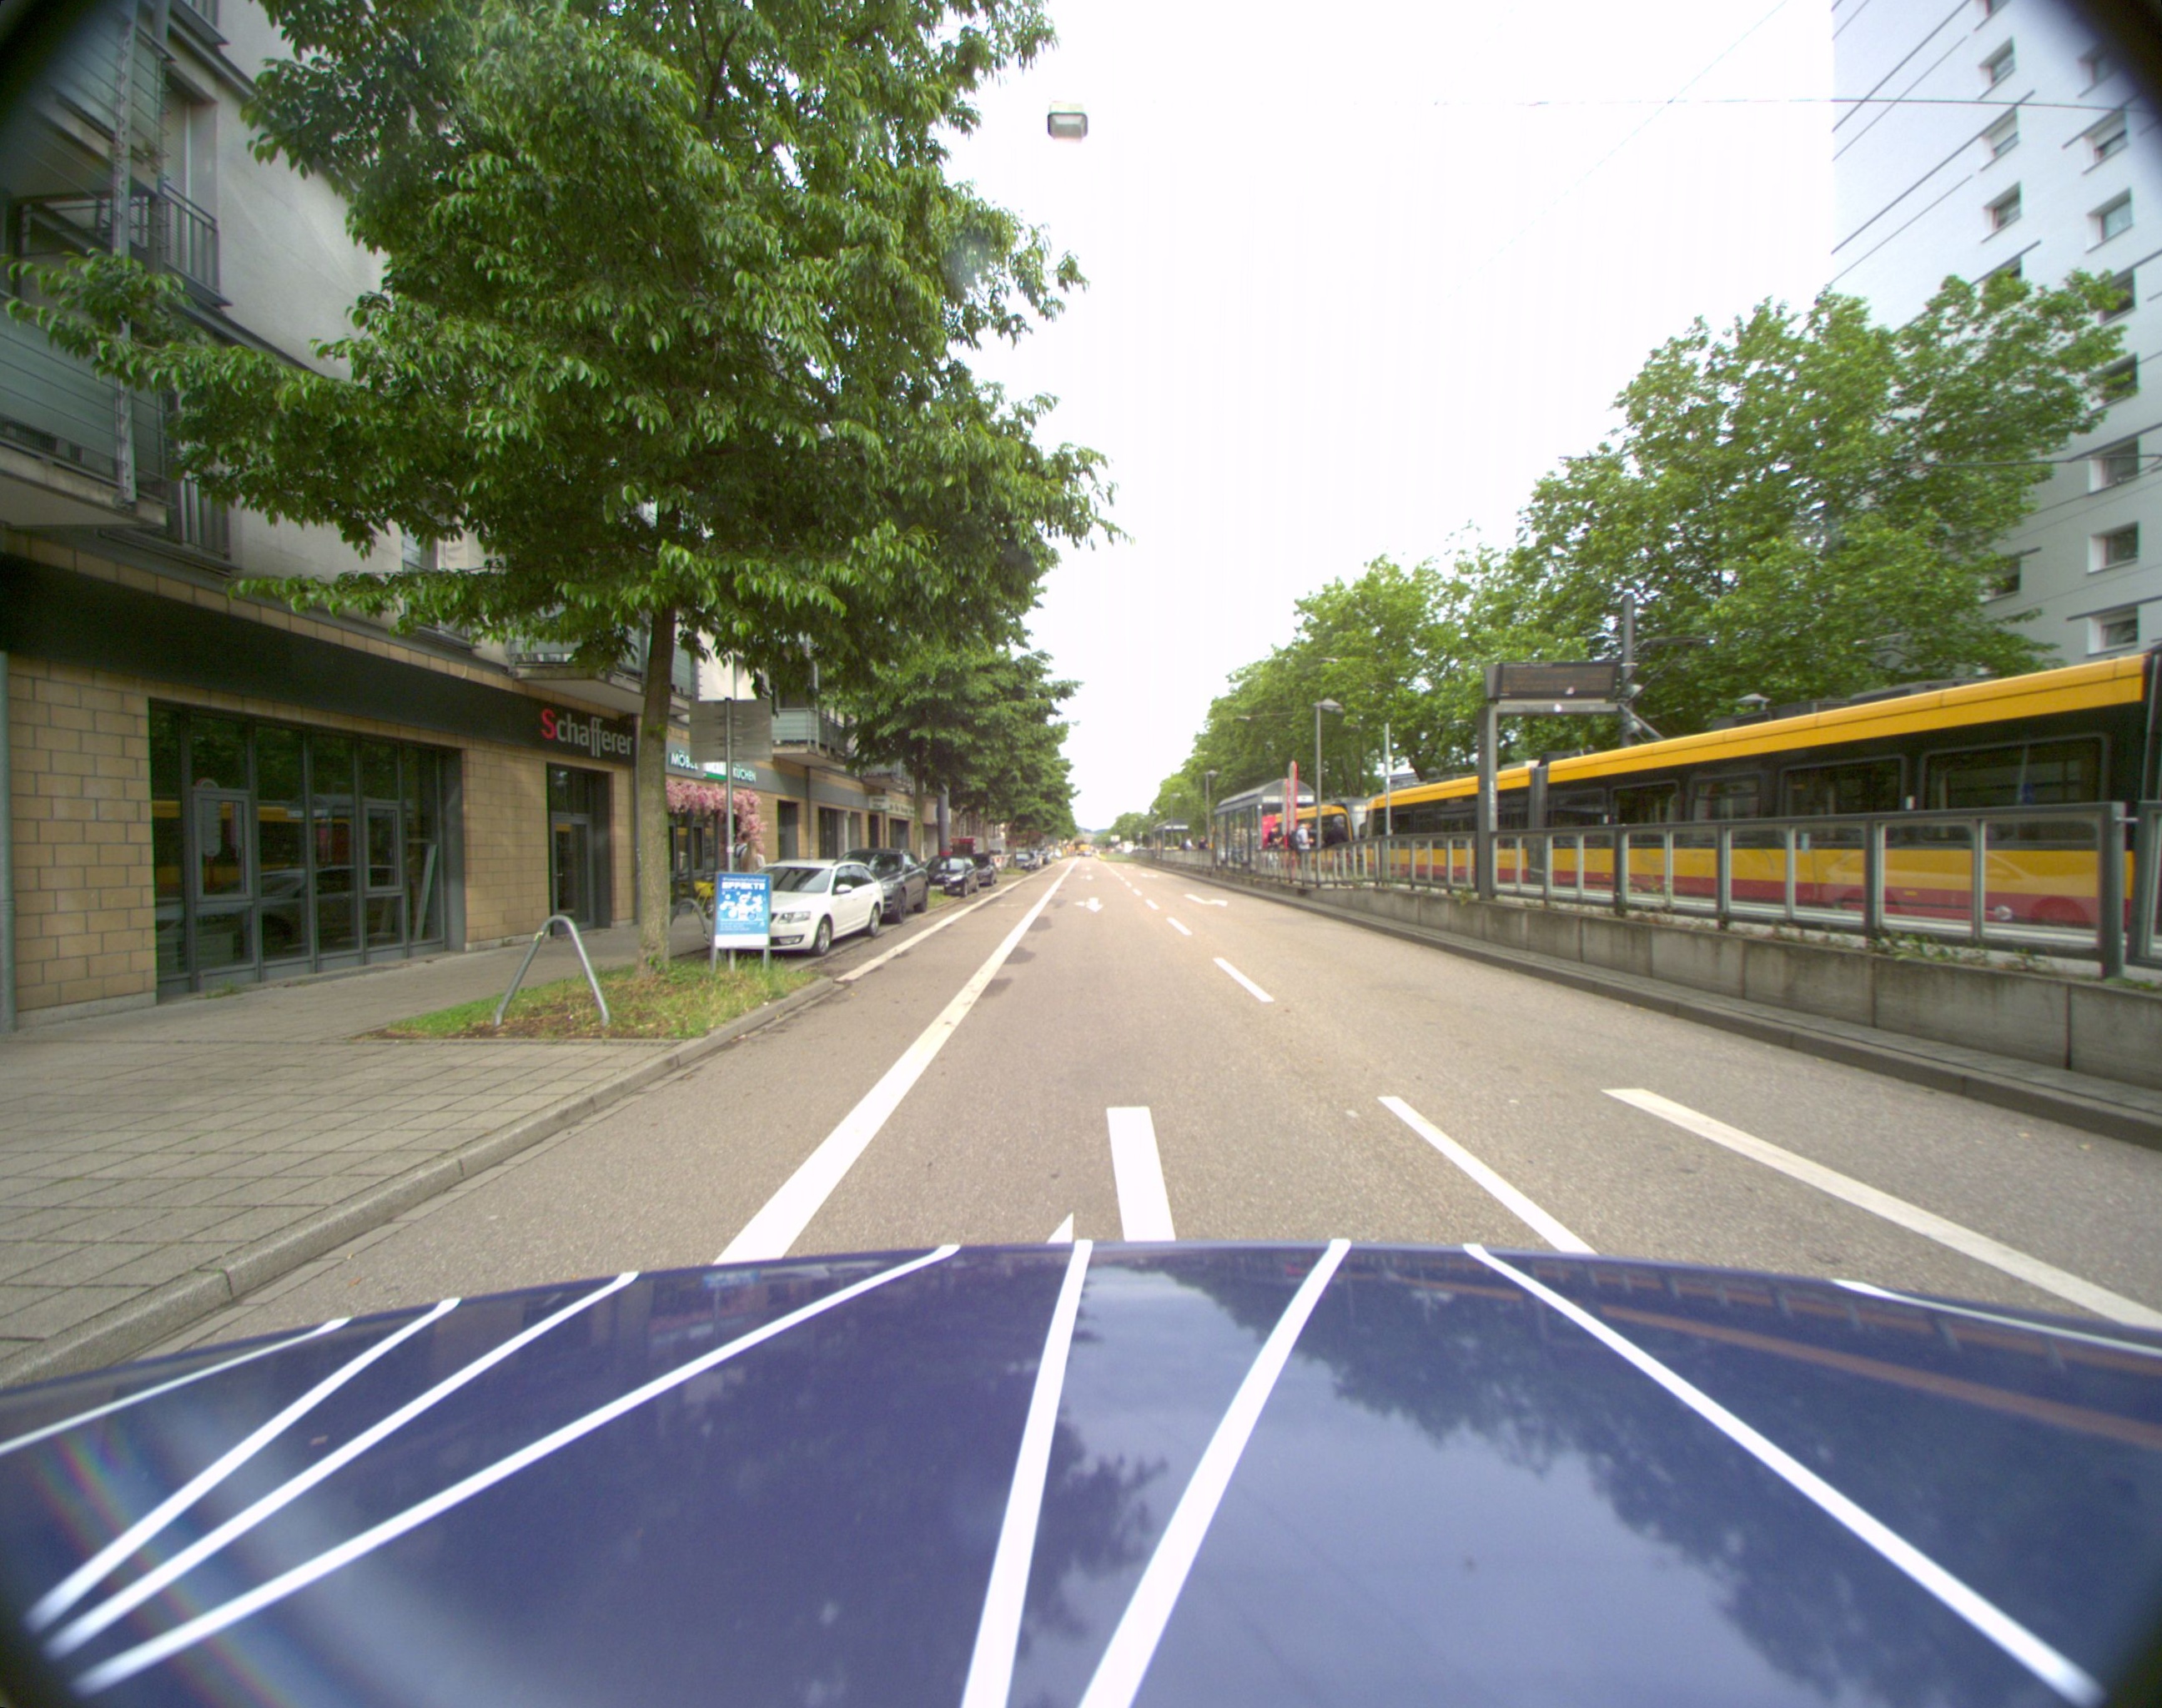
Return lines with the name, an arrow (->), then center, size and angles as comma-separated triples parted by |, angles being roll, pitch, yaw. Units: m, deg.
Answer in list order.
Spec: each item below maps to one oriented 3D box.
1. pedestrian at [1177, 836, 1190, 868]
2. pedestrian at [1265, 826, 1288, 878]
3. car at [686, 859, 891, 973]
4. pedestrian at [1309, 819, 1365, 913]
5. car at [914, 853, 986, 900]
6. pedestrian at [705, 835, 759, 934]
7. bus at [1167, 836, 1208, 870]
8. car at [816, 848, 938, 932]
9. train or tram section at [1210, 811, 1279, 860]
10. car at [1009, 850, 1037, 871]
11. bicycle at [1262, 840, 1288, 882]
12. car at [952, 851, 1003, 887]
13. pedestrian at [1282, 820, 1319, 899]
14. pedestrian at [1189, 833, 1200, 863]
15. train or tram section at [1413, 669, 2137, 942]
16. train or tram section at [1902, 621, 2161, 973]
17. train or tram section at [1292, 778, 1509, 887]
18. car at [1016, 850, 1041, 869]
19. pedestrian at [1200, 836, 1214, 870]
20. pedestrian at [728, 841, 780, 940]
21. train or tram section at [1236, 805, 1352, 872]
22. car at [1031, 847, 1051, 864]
pedestrian -> 6.561, -0.130, 48.651 | 0.676, 2.002, 0.588 | -2, 1, -2
pedestrian -> 6.230, -0.059, 24.208 | 0.532, 1.623, 0.471 | -2, 1, -2
car -> -4.708, 0.892, 12.996 | 1.680, 1.490, 4.389 | 2, 1, 2
pedestrian -> 5.672, 0.247, 16.846 | 0.756, 2.002, 0.816 | -3, 2, -36
car -> -4.614, 0.742, 27.364 | 1.680, 1.433, 4.407 | 2, 1, 2
pedestrian -> -6.784, 0.576, 14.806 | 0.676, 1.880, 0.737 | 0, 1, 2
bus -> 6.720, -0.117, 48.336 | 1.998, 2.002, 3.999 | -2, 1, 1
car -> -4.747, 0.747, 18.411 | 1.716, 1.707, 4.710 | 2, 1, -1
train or tram section -> 13.207, -1.465, 62.773 | 3.100, 3.541, 12.537 | -2, 1, 1
car -> -4.290, 0.473, 56.509 | 1.755, 1.452, 4.279 | 1, 1, 0
bicycle -> 5.875, 0.197, 23.067 | 0.420, 1.215, 1.289 | -2, 1, 0
car -> -4.699, 0.635, 35.063 | 1.802, 1.447, 4.387 | 2, 1, -1
pedestrian -> 5.697, 0.132, 19.725 | 0.753, 2.002, 0.819 | -2, 2, 24
pedestrian -> 6.168, -0.340, 41.280 | 0.480, 1.623, 0.392 | -2, 1, 2
train or tram section -> 12.629, -0.758, 17.789 | 3.067, 3.511, 15.292 | -2, 1, 1
train or tram section -> 12.446, -0.541, 2.231 | 3.067, 3.568, 15.846 | -2, 1, 1
train or tram section -> 12.828, -0.838, 33.101 | 3.067, 3.511, 15.292 | -2, 1, 1
car -> -4.288, 0.446, 62.610 | 1.755, 1.452, 4.279 | 1, 1, 0
pedestrian -> 6.042, -0.056, 36.451 | 0.513, 1.623, 0.730 | -2, 1, 2
pedestrian -> -6.102, 0.663, 14.199 | 0.617, 1.795, 0.737 | 0, 1, 2
train or tram section -> 13.008, -0.950, 48.624 | 3.067, 3.511, 15.769 | -2, 1, 1
car -> -4.090, 0.146, 78.814 | 1.837, 1.720, 4.279 | 1, 1, 0
